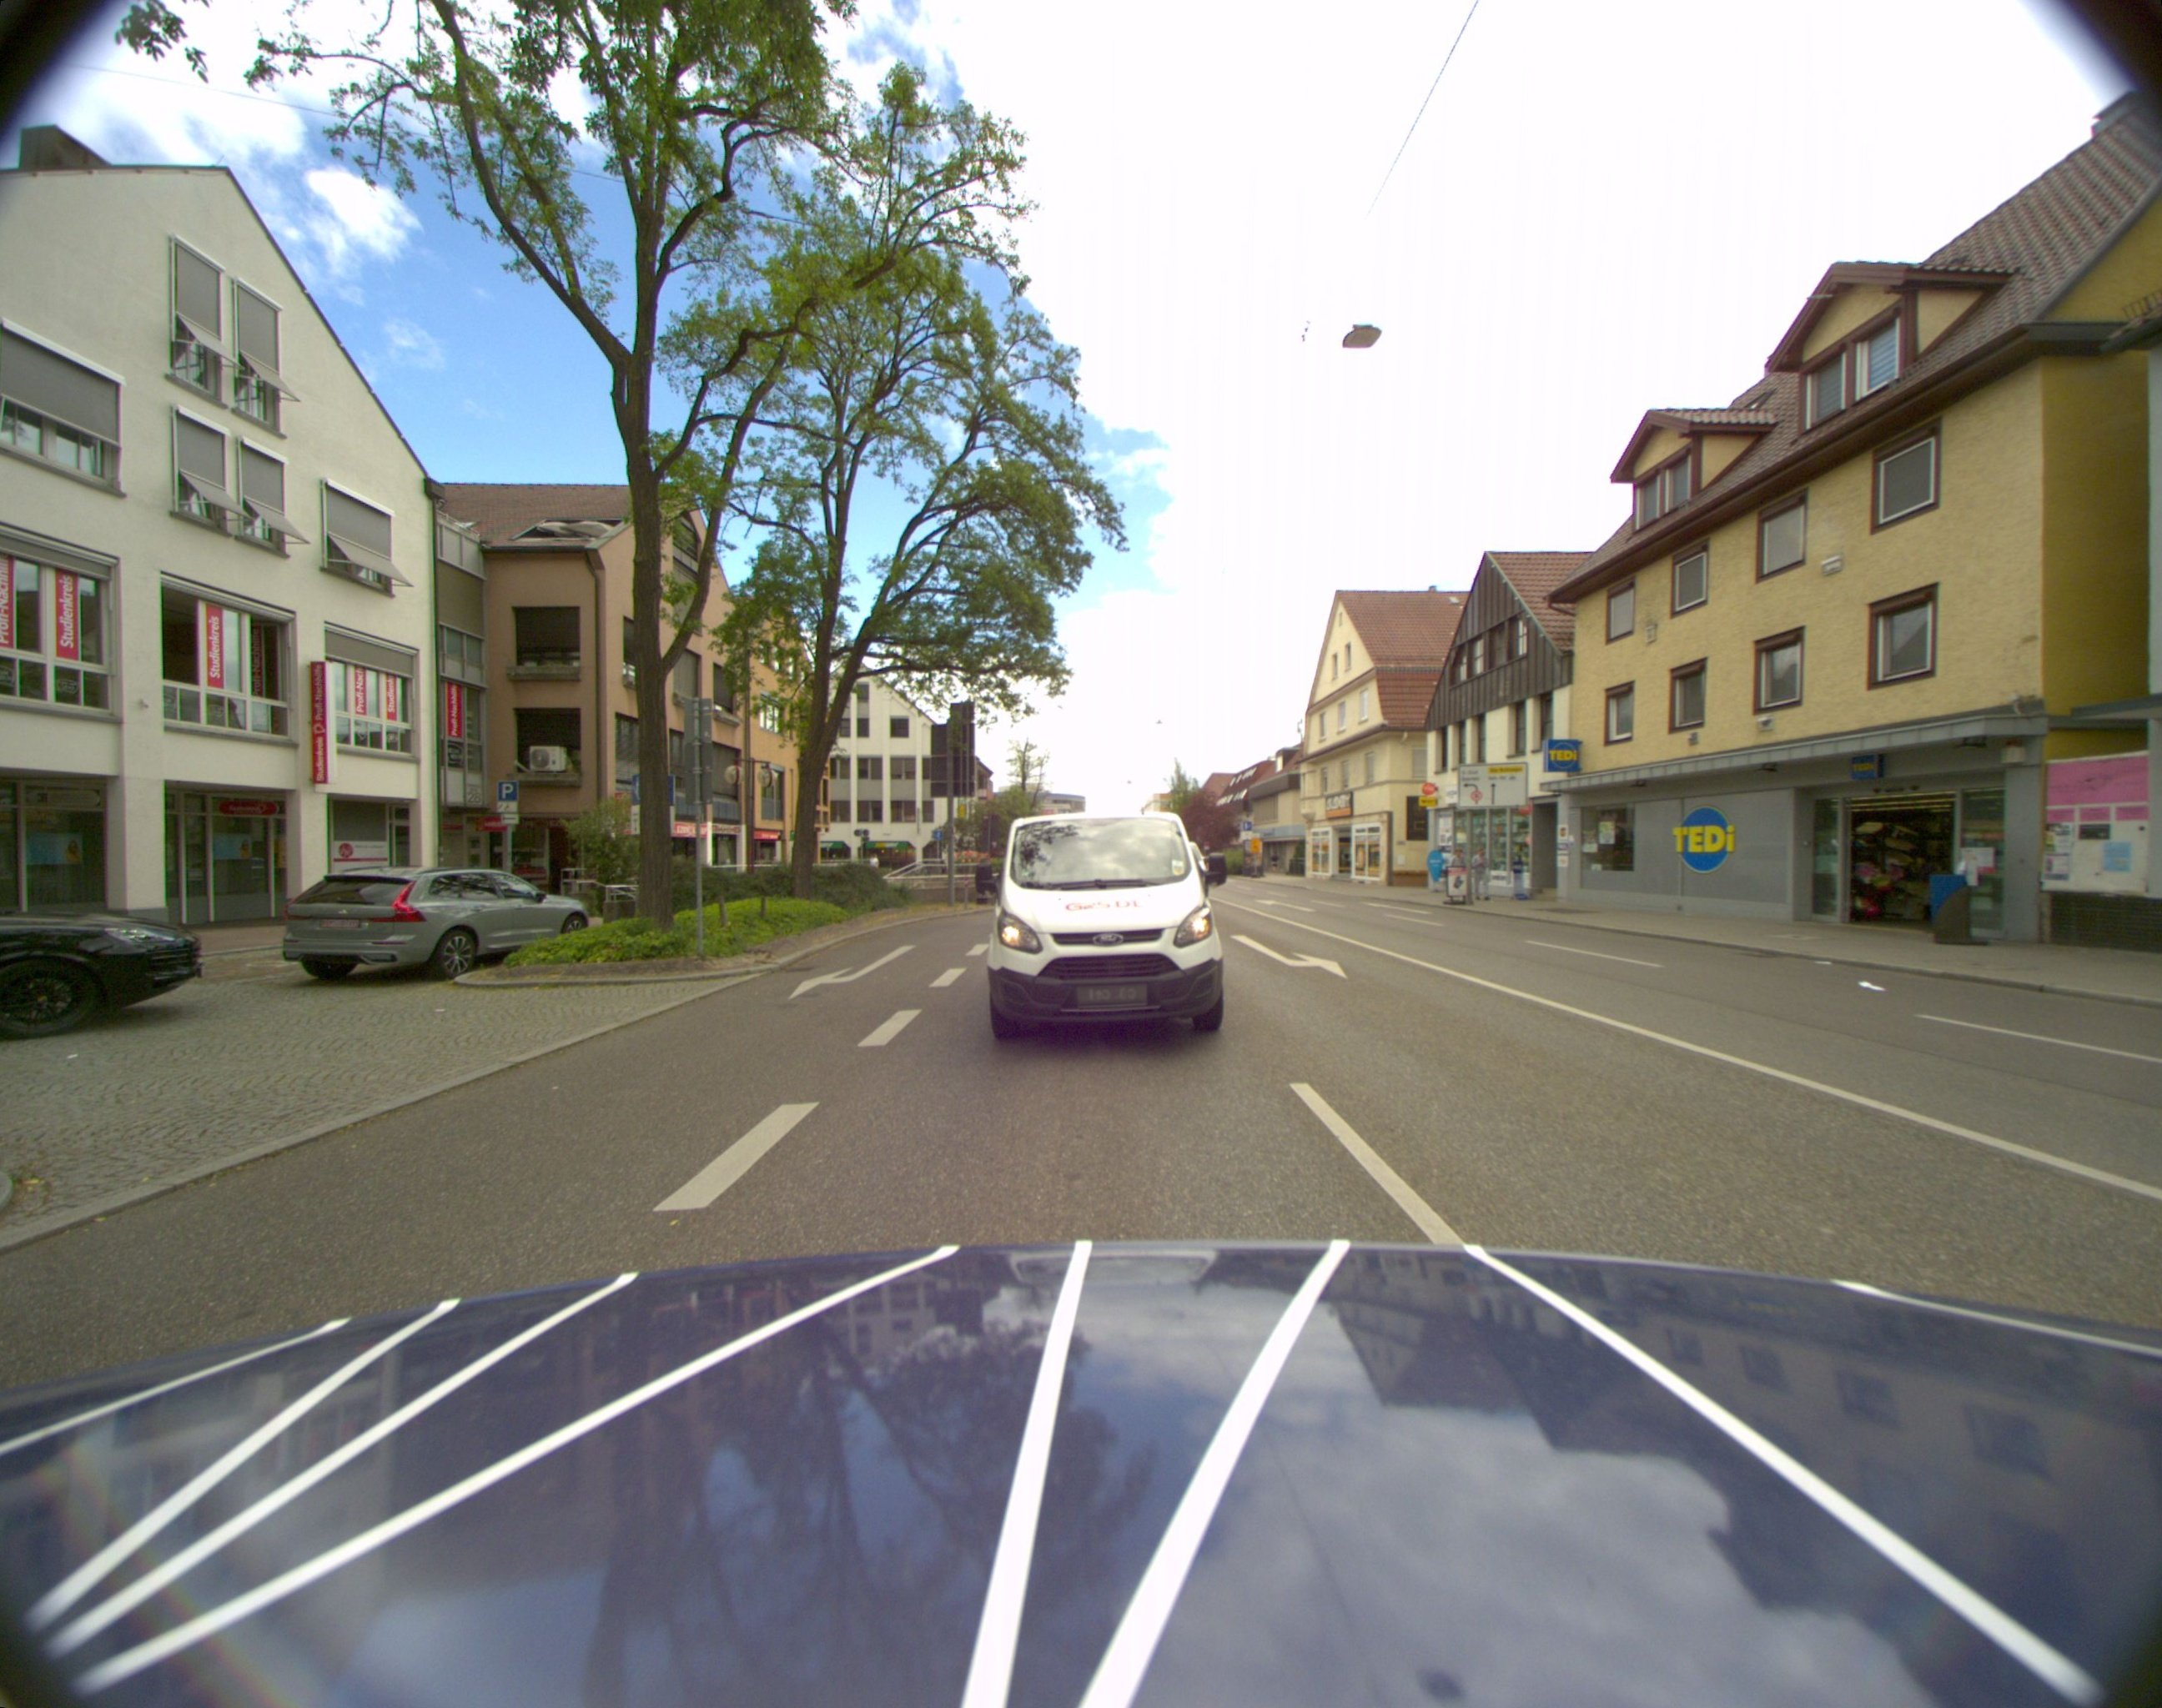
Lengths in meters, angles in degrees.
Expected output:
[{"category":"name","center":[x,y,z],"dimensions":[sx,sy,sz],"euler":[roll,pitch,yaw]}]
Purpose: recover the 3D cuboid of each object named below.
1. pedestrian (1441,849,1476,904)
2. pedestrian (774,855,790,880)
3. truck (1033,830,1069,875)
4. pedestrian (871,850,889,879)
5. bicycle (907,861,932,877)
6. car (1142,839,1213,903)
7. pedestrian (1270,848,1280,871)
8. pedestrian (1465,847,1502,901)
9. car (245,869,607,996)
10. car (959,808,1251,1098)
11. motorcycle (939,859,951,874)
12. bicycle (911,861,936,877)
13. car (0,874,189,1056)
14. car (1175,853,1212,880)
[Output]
[{"category":"pedestrian","center":[11.815,0.688,23.812],"dimensions":[0.689,1.680,0.742],"euler":[-2,1,0]},{"category":"pedestrian","center":[-21.105,0.971,53.659],"dimensions":[0.887,1.747,0.943],"euler":[-1,1,-11]},{"category":"truck","center":[-2.440,-0.184,64.212],"dimensions":[2.446,3.464,8.347],"euler":[-2,1,1]},{"category":"pedestrian","center":[-12.917,0.639,48.821],"dimensions":[0.871,1.812,0.785],"euler":[-2,1,-4]},{"category":"bicycle","center":[-10.428,0.972,49.094],"dimensions":[1.594,0.996,0.414],"euler":[-1,1,-13]},{"category":"car","center":[3.132,0.518,25.510],"dimensions":[1.830,1.948,4.852],"euler":[-1,0,1]},{"category":"pedestrian","center":[15.633,0.452,61.192],"dimensions":[0.551,1.878,0.592],"euler":[-2,1,-4]},{"category":"pedestrian","center":[12.706,0.624,23.994],"dimensions":[0.689,1.660,0.709],"euler":[-3,1,0]},{"category":"car","center":[-10.297,1.101,12.612],"dimensions":[1.999,1.586,4.762],"euler":[0,0,-2]},{"category":"car","center":[0.179,0.690,7.912],"dimensions":[1.964,1.948,5.164],"euler":[-3,0,0]},{"category":"motorcycle","center":[-9.790,0.884,54.568],"dimensions":[0.464,1.062,1.995],"euler":[-1,0,0]},{"category":"bicycle","center":[-10.357,0.982,49.999],"dimensions":[1.594,0.963,0.461],"euler":[-1,1,-14]},{"category":"car","center":[-11.732,1.073,6.904],"dimensions":[1.853,1.660,4.673],"euler":[1,0,41]},{"category":"car","center":[6.360,0.689,43.142],"dimensions":[1.578,1.480,3.463],"euler":[0,0,0]}]
